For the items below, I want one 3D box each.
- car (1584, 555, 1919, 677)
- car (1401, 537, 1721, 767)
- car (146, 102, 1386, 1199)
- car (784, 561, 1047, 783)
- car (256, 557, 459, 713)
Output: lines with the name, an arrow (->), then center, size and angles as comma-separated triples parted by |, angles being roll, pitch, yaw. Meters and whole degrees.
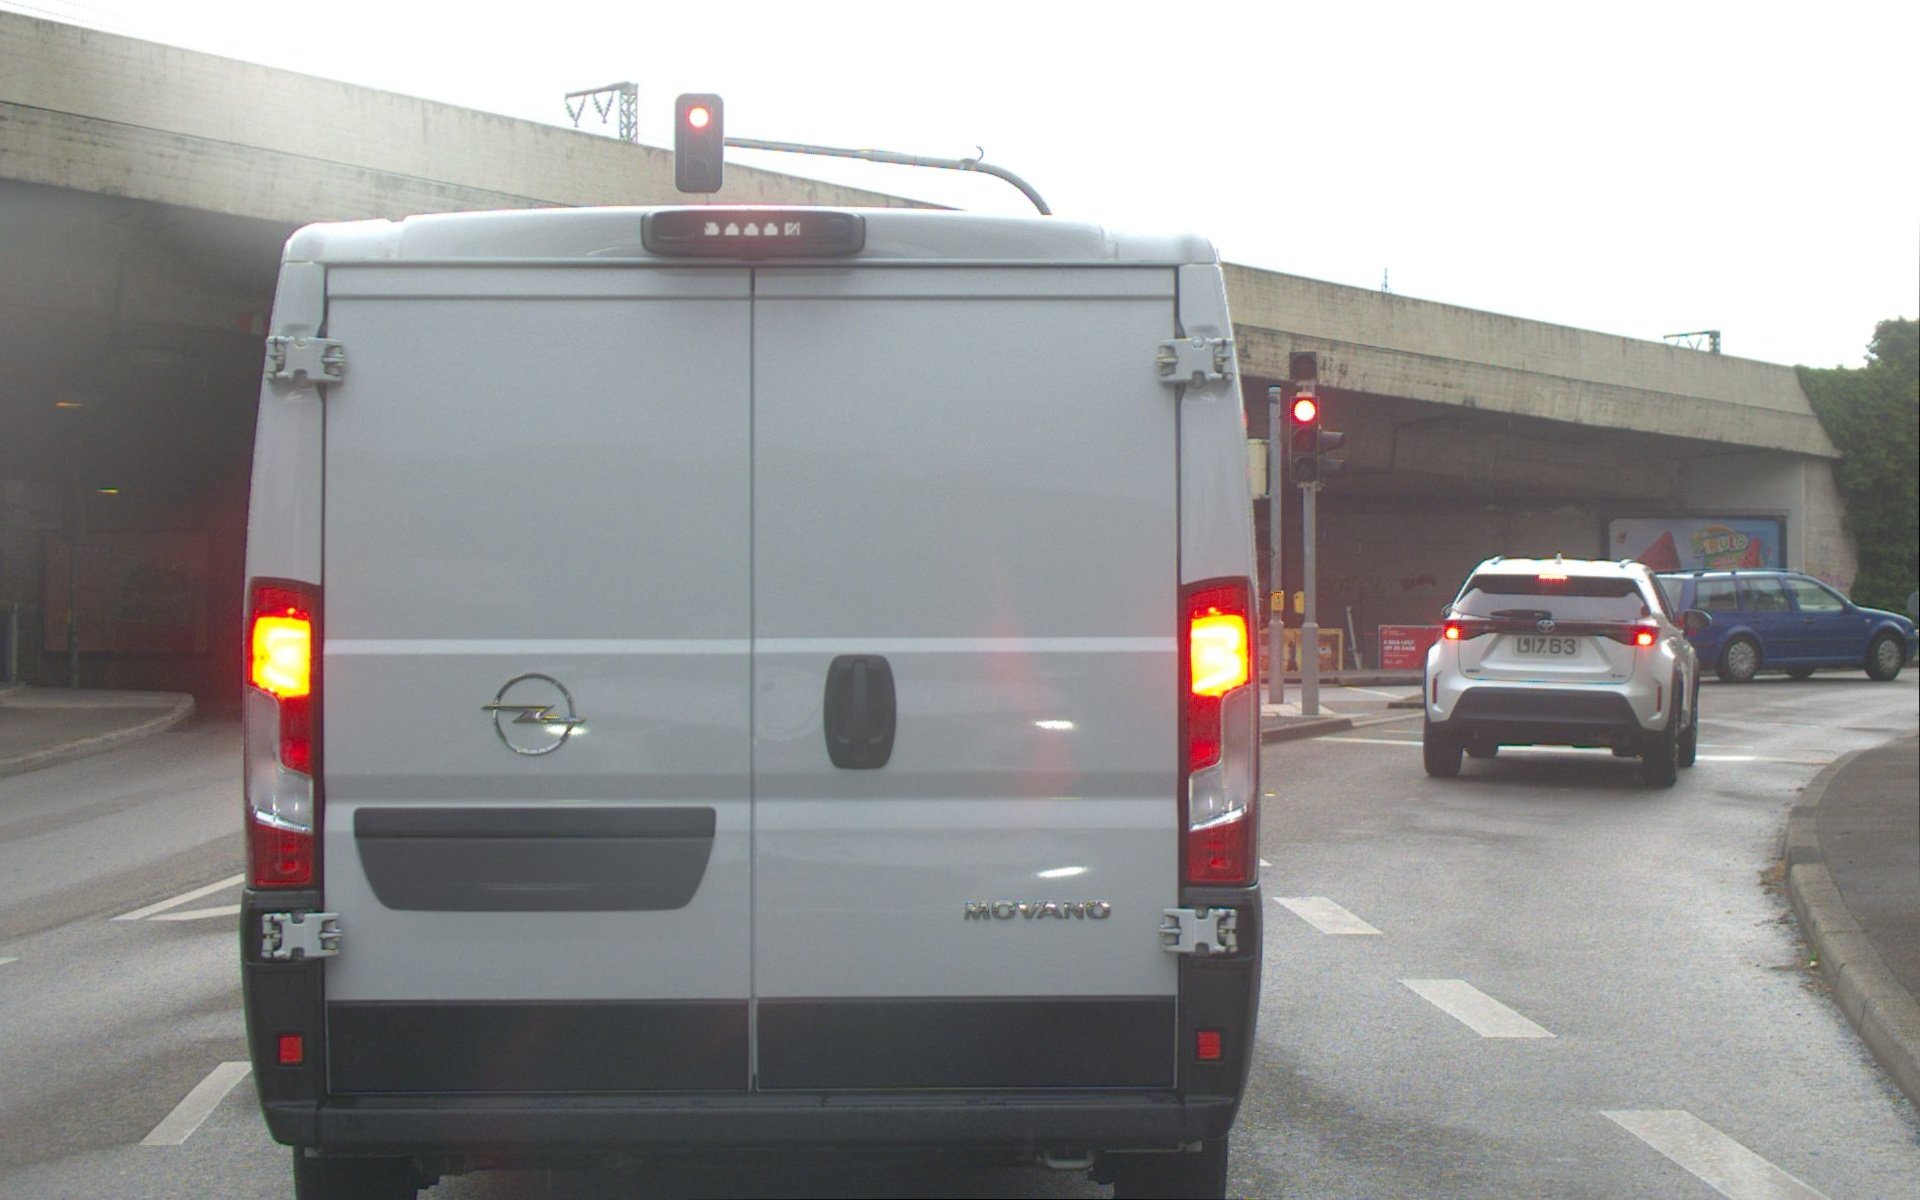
car -> 10.264, 0.222, 44.380 | 3.986, 1.513, 2.000 | 1, -1, -29
car -> 4.498, 0.376, 25.280 | 1.995, 1.544, 3.997 | 0, -1, 15
car -> -0.359, 0.230, 9.146 | 2.305, 2.335, 5.282 | 1, 0, 0
car -> -0.296, 0.585, 28.826 | 1.994, 1.723, 3.999 | 0, -1, 2
car -> -6.595, 0.344, 38.000 | 1.914, 1.621, 4.435 | 0, 0, -6
